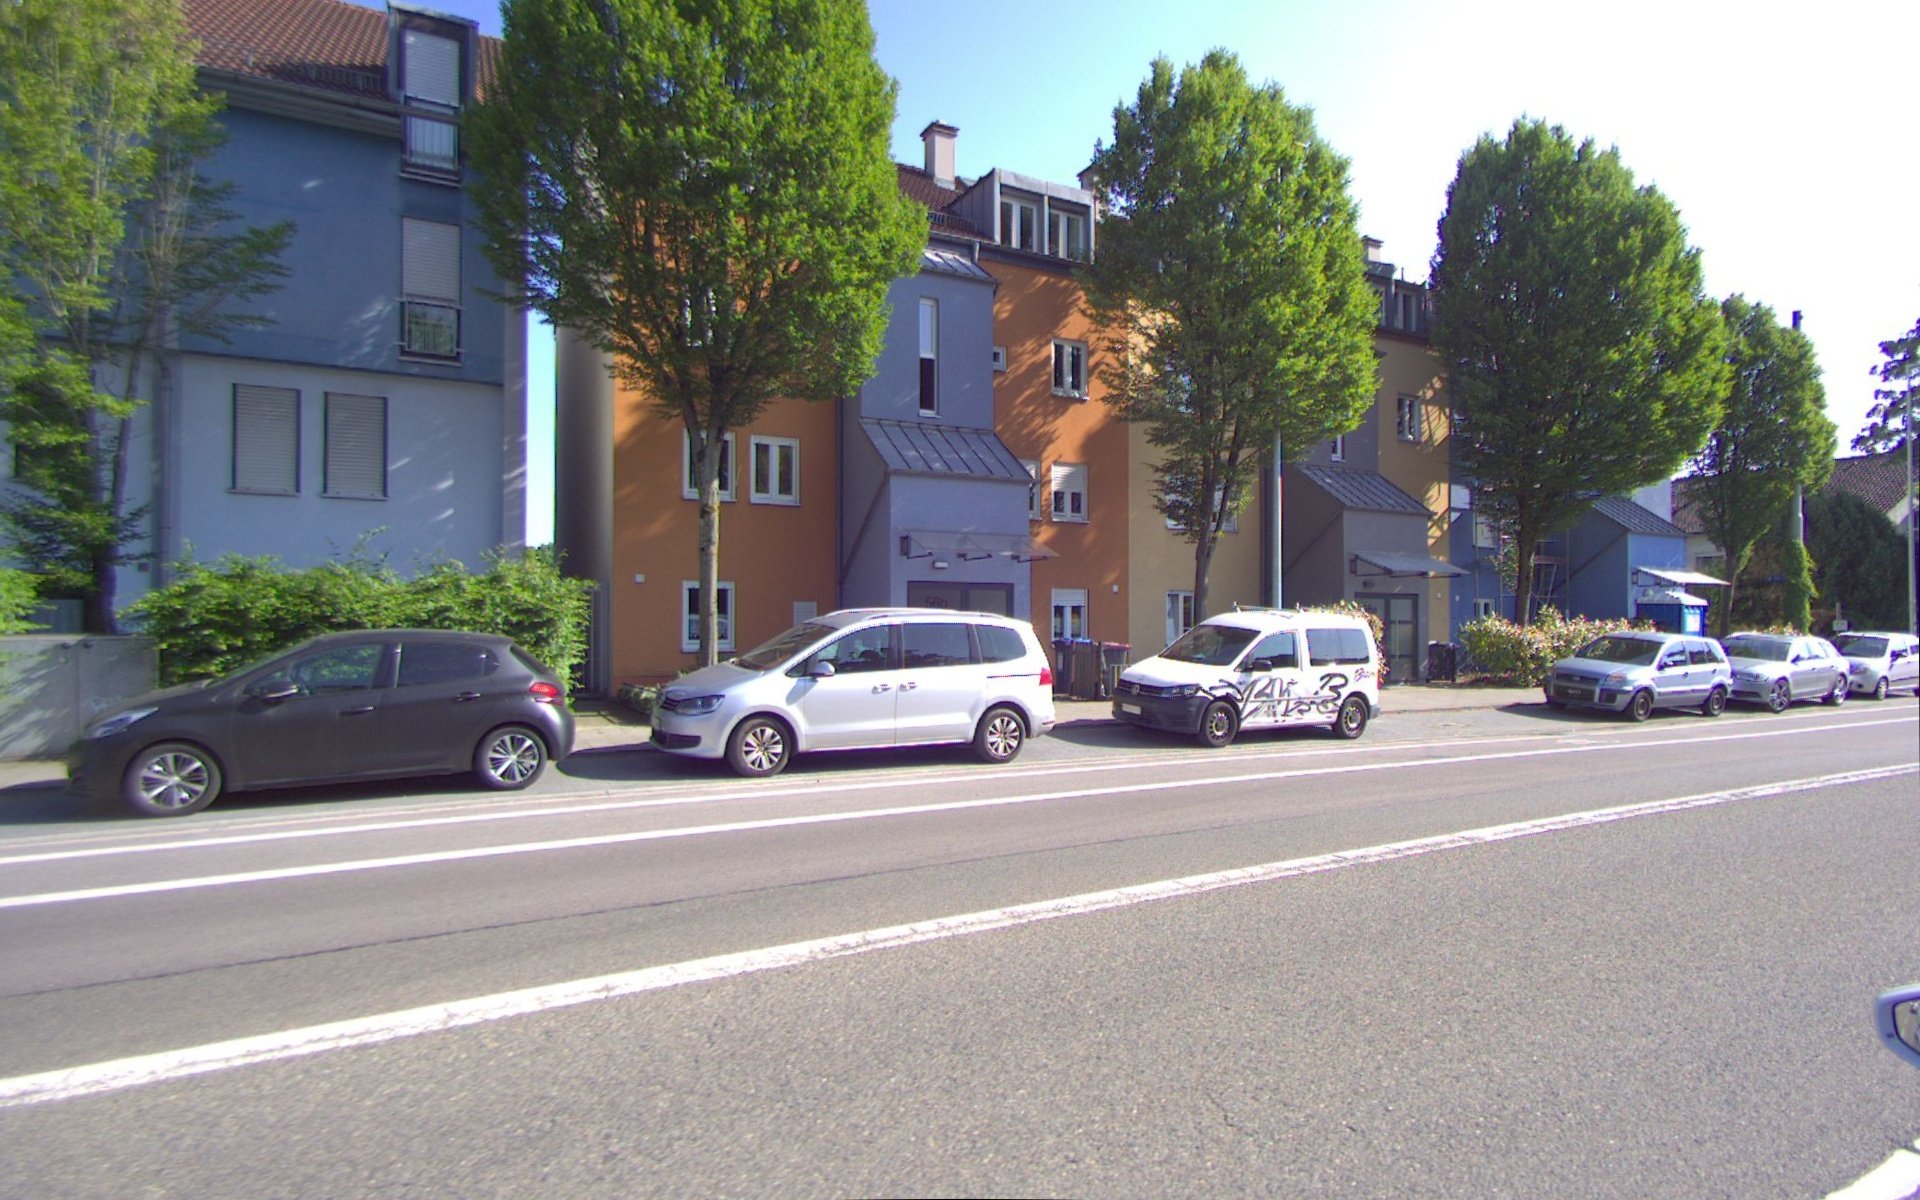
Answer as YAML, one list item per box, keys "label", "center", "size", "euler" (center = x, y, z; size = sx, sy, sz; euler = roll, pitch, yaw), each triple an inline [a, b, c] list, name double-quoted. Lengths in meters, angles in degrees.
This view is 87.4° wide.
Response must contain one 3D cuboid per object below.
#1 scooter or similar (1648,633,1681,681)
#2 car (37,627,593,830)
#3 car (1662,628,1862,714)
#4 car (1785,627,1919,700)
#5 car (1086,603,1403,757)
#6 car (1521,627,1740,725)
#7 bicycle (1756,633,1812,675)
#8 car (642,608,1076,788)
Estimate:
- label: "scooter or similar"
  center: [17.708, 1.424, 25.232]
  size: [1.031, 1.169, 0.292]
  euler: [1, -1, -32]
- label: "car"
  center: [-5.662, 1.023, 9.340]
  size: [4.010, 1.485, 1.608]
  euler: [1, 0, -30]
- label: "car"
  center: [17.290, 1.436, 21.596]
  size: [4.700, 1.531, 1.740]
  euler: [1, 3, -31]
- label: "car"
  center: [21.733, 1.474, 24.227]
  size: [3.466, 1.515, 1.594]
  euler: [1, 3, -29]
- label: "car"
  center: [4.234, 1.056, 14.779]
  size: [4.525, 1.871, 1.754]
  euler: [1, 3, -30]
- label: "car"
  center: [12.900, 1.384, 19.309]
  size: [3.930, 1.560, 1.756]
  euler: [1, 3, -28]
- label: "bicycle"
  center: [23.554, 1.553, 28.714]
  size: [1.758, 1.169, 0.442]
  euler: [1, -1, -21]
- label: "car"
  center: [-1.096, 1.001, 11.698]
  size: [4.763, 1.723, 1.661]
  euler: [1, 1, -28]
